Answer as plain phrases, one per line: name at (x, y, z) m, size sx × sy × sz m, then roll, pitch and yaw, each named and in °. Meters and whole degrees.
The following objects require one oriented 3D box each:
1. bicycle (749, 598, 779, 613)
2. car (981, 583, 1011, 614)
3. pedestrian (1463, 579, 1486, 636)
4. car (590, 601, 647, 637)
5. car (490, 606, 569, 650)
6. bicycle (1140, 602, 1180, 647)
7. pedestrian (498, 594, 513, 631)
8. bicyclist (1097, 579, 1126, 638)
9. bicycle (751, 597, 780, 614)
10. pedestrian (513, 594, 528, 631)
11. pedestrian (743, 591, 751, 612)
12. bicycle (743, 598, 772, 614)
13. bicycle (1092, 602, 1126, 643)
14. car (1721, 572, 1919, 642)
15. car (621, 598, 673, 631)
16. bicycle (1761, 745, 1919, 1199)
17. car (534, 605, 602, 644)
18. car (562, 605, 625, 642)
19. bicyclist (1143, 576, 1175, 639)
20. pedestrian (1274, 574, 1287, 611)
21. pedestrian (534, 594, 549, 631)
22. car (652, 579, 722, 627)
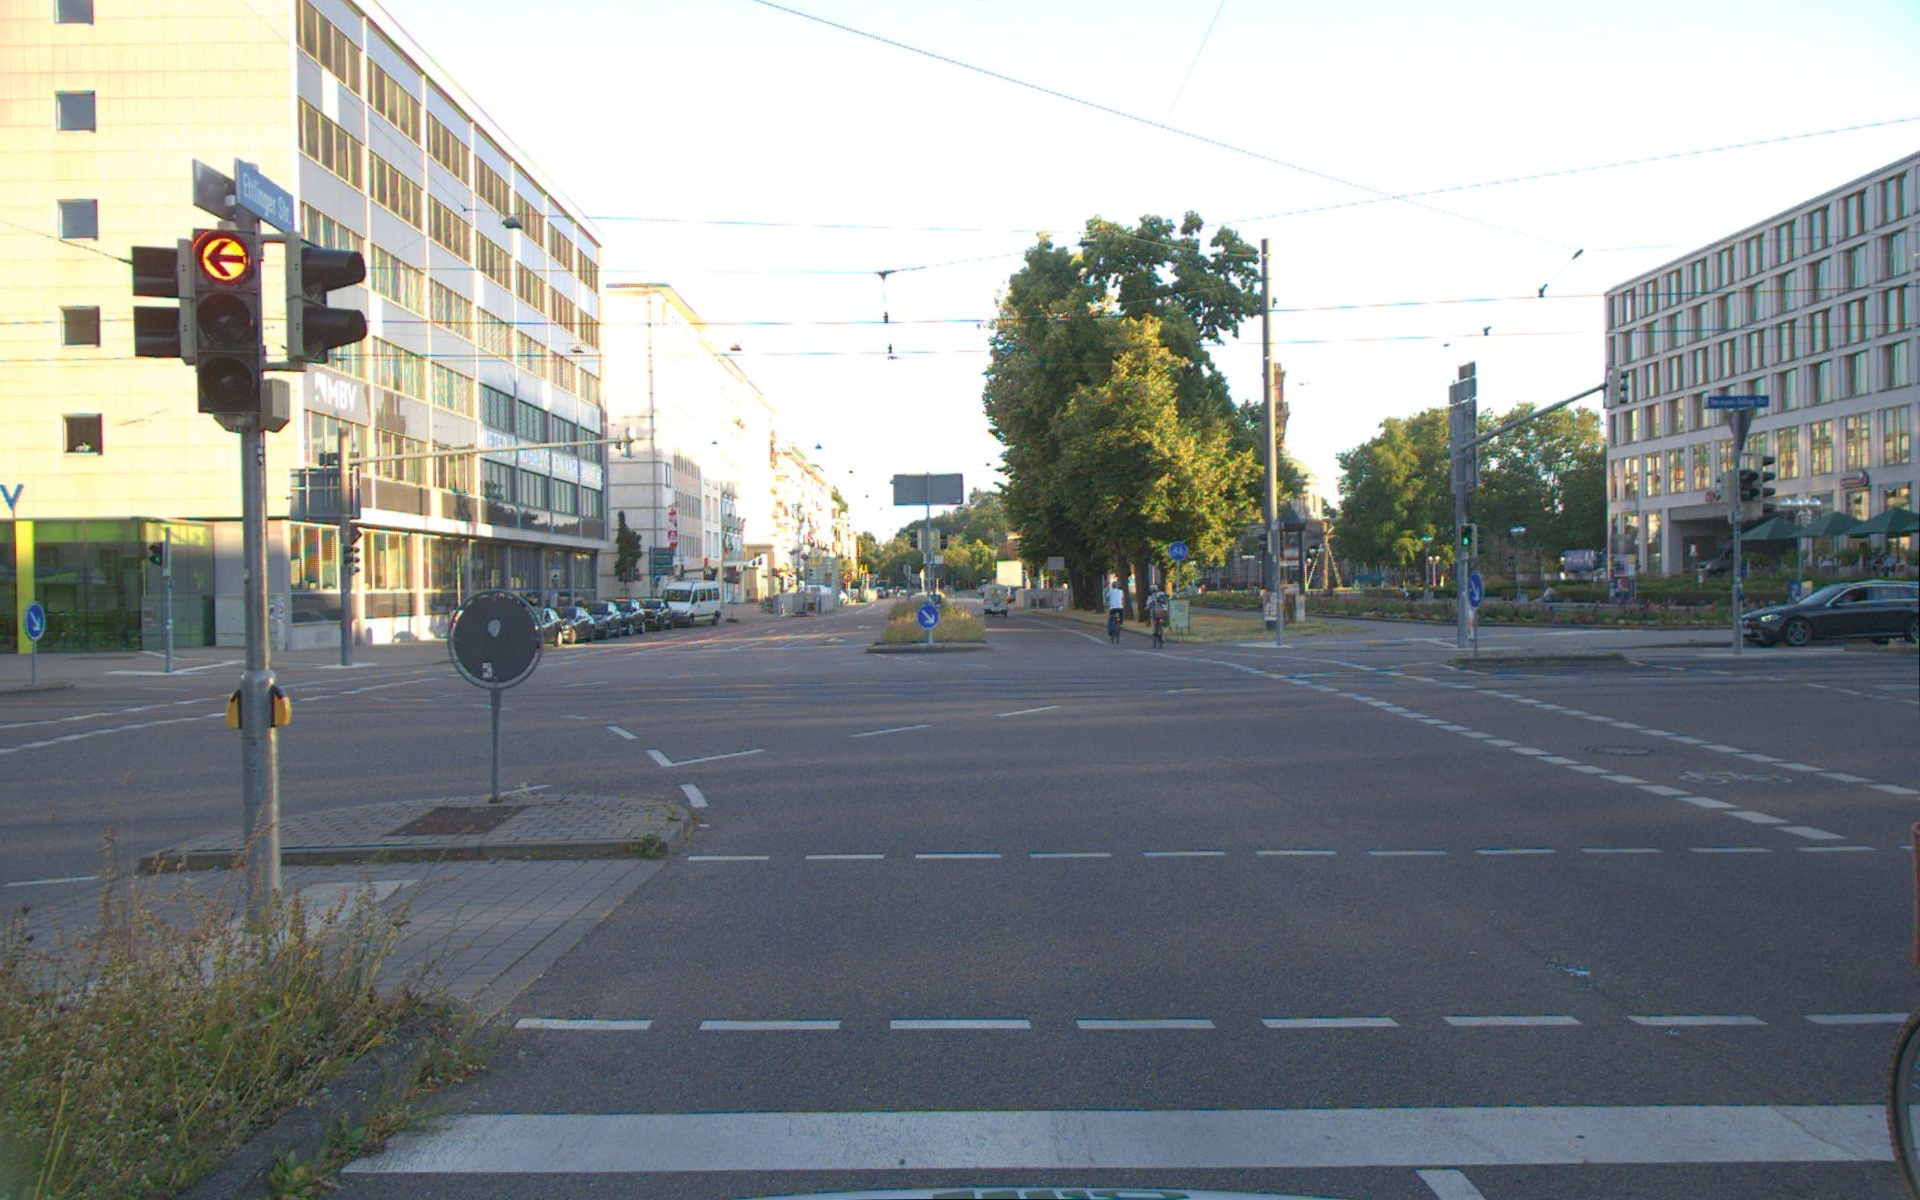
bicycle at (-14.982, 0.428, 126.561) m, size 2.161 × 1.131 × 0.689 m, roll -1°, pitch 0°, yaw -2°
car at (1.986, -0.105, 92.243) m, size 1.379 × 1.670 × 3.998 m, roll -1°, pitch 0°, yaw -2°
pedestrian at (14.242, 0.198, 45.778) m, size 0.480 × 1.566 × 0.408 m, roll -1°, pitch 0°, yaw -1°
car at (-16.132, 0.878, 78.289) m, size 1.882 × 1.595 × 3.999 m, roll -1°, pitch 0°, yaw -1°
car at (-16.006, 1.030, 61.642) m, size 1.882 × 1.489 × 4.102 m, roll -1°, pitch 0°, yaw -1°
bicycle at (5.498, 0.651, 45.576) m, size 0.731 × 1.164 × 2.505 m, roll -1°, pitch 0°, yaw -1°
pedestrian at (-21.324, 0.594, 77.673) m, size 0.540 × 1.708 × 0.500 m, roll -1°, pitch 0°, yaw -1°
bicyclist at (4.498, 0.248, 49.066) m, size 0.731 × 1.692 × 0.873 m, roll -1°, pitch 0°, yaw -1°
bicycle at (-15.153, 0.404, 128.657) m, size 2.161 × 1.258 × 0.839 m, roll -1°, pitch 0°, yaw -2°
pedestrian at (-20.688, 0.572, 77.923) m, size 0.540 × 1.708 × 0.500 m, roll -1°, pitch 0°, yaw -1°
pedestrian at (-21.233, 0.126, 164.538) m, size 0.666 × 2.049 × 0.545 m, roll -2°, pitch 0°, yaw -1°
bicycle at (-15.322, 0.457, 125.216) m, size 2.161 × 1.131 × 0.618 m, roll -1°, pitch 0°, yaw -3°
bicycle at (4.440, 0.646, 49.499) m, size 0.731 × 1.164 × 2.505 m, roll -1°, pitch 0°, yaw -1°
car at (21.211, 0.154, 39.970) m, size 4.724 × 1.542 × 2.000 m, roll -1°, pitch 0°, yaw 1°
car at (-15.958, 0.730, 84.521) m, size 1.882 × 1.595 × 3.999 m, roll -1°, pitch 0°, yaw -1°
bicycle at (2.187, 0.921, 2.869) m, size 0.599 × 1.152 × 2.004 m, roll 1°, pitch 0°, yaw -1°
car at (-16.116, 0.990, 68.171) m, size 1.882 × 1.489 × 3.999 m, roll -1°, pitch 0°, yaw -1°
car at (-16.136, 1.009, 72.985) m, size 1.882 × 1.489 × 3.999 m, roll -1°, pitch 0°, yaw -1°
bicyclist at (5.484, 0.200, 45.581) m, size 0.731 × 1.720 × 0.799 m, roll -1°, pitch 0°, yaw -1°
pedestrian at (14.516, -0.345, 74.935) m, size 0.451 × 1.685 × 0.566 m, roll -1°, pitch 0°, yaw -1°
pedestrian at (-19.675, 0.580, 77.684) m, size 0.540 × 1.708 × 0.500 m, roll -1°, pitch 0°, yaw -1°
car at (-14.940, 0.142, 90.996) m, size 1.958 × 2.521 × 5.873 m, roll -1°, pitch 0°, yaw 9°
